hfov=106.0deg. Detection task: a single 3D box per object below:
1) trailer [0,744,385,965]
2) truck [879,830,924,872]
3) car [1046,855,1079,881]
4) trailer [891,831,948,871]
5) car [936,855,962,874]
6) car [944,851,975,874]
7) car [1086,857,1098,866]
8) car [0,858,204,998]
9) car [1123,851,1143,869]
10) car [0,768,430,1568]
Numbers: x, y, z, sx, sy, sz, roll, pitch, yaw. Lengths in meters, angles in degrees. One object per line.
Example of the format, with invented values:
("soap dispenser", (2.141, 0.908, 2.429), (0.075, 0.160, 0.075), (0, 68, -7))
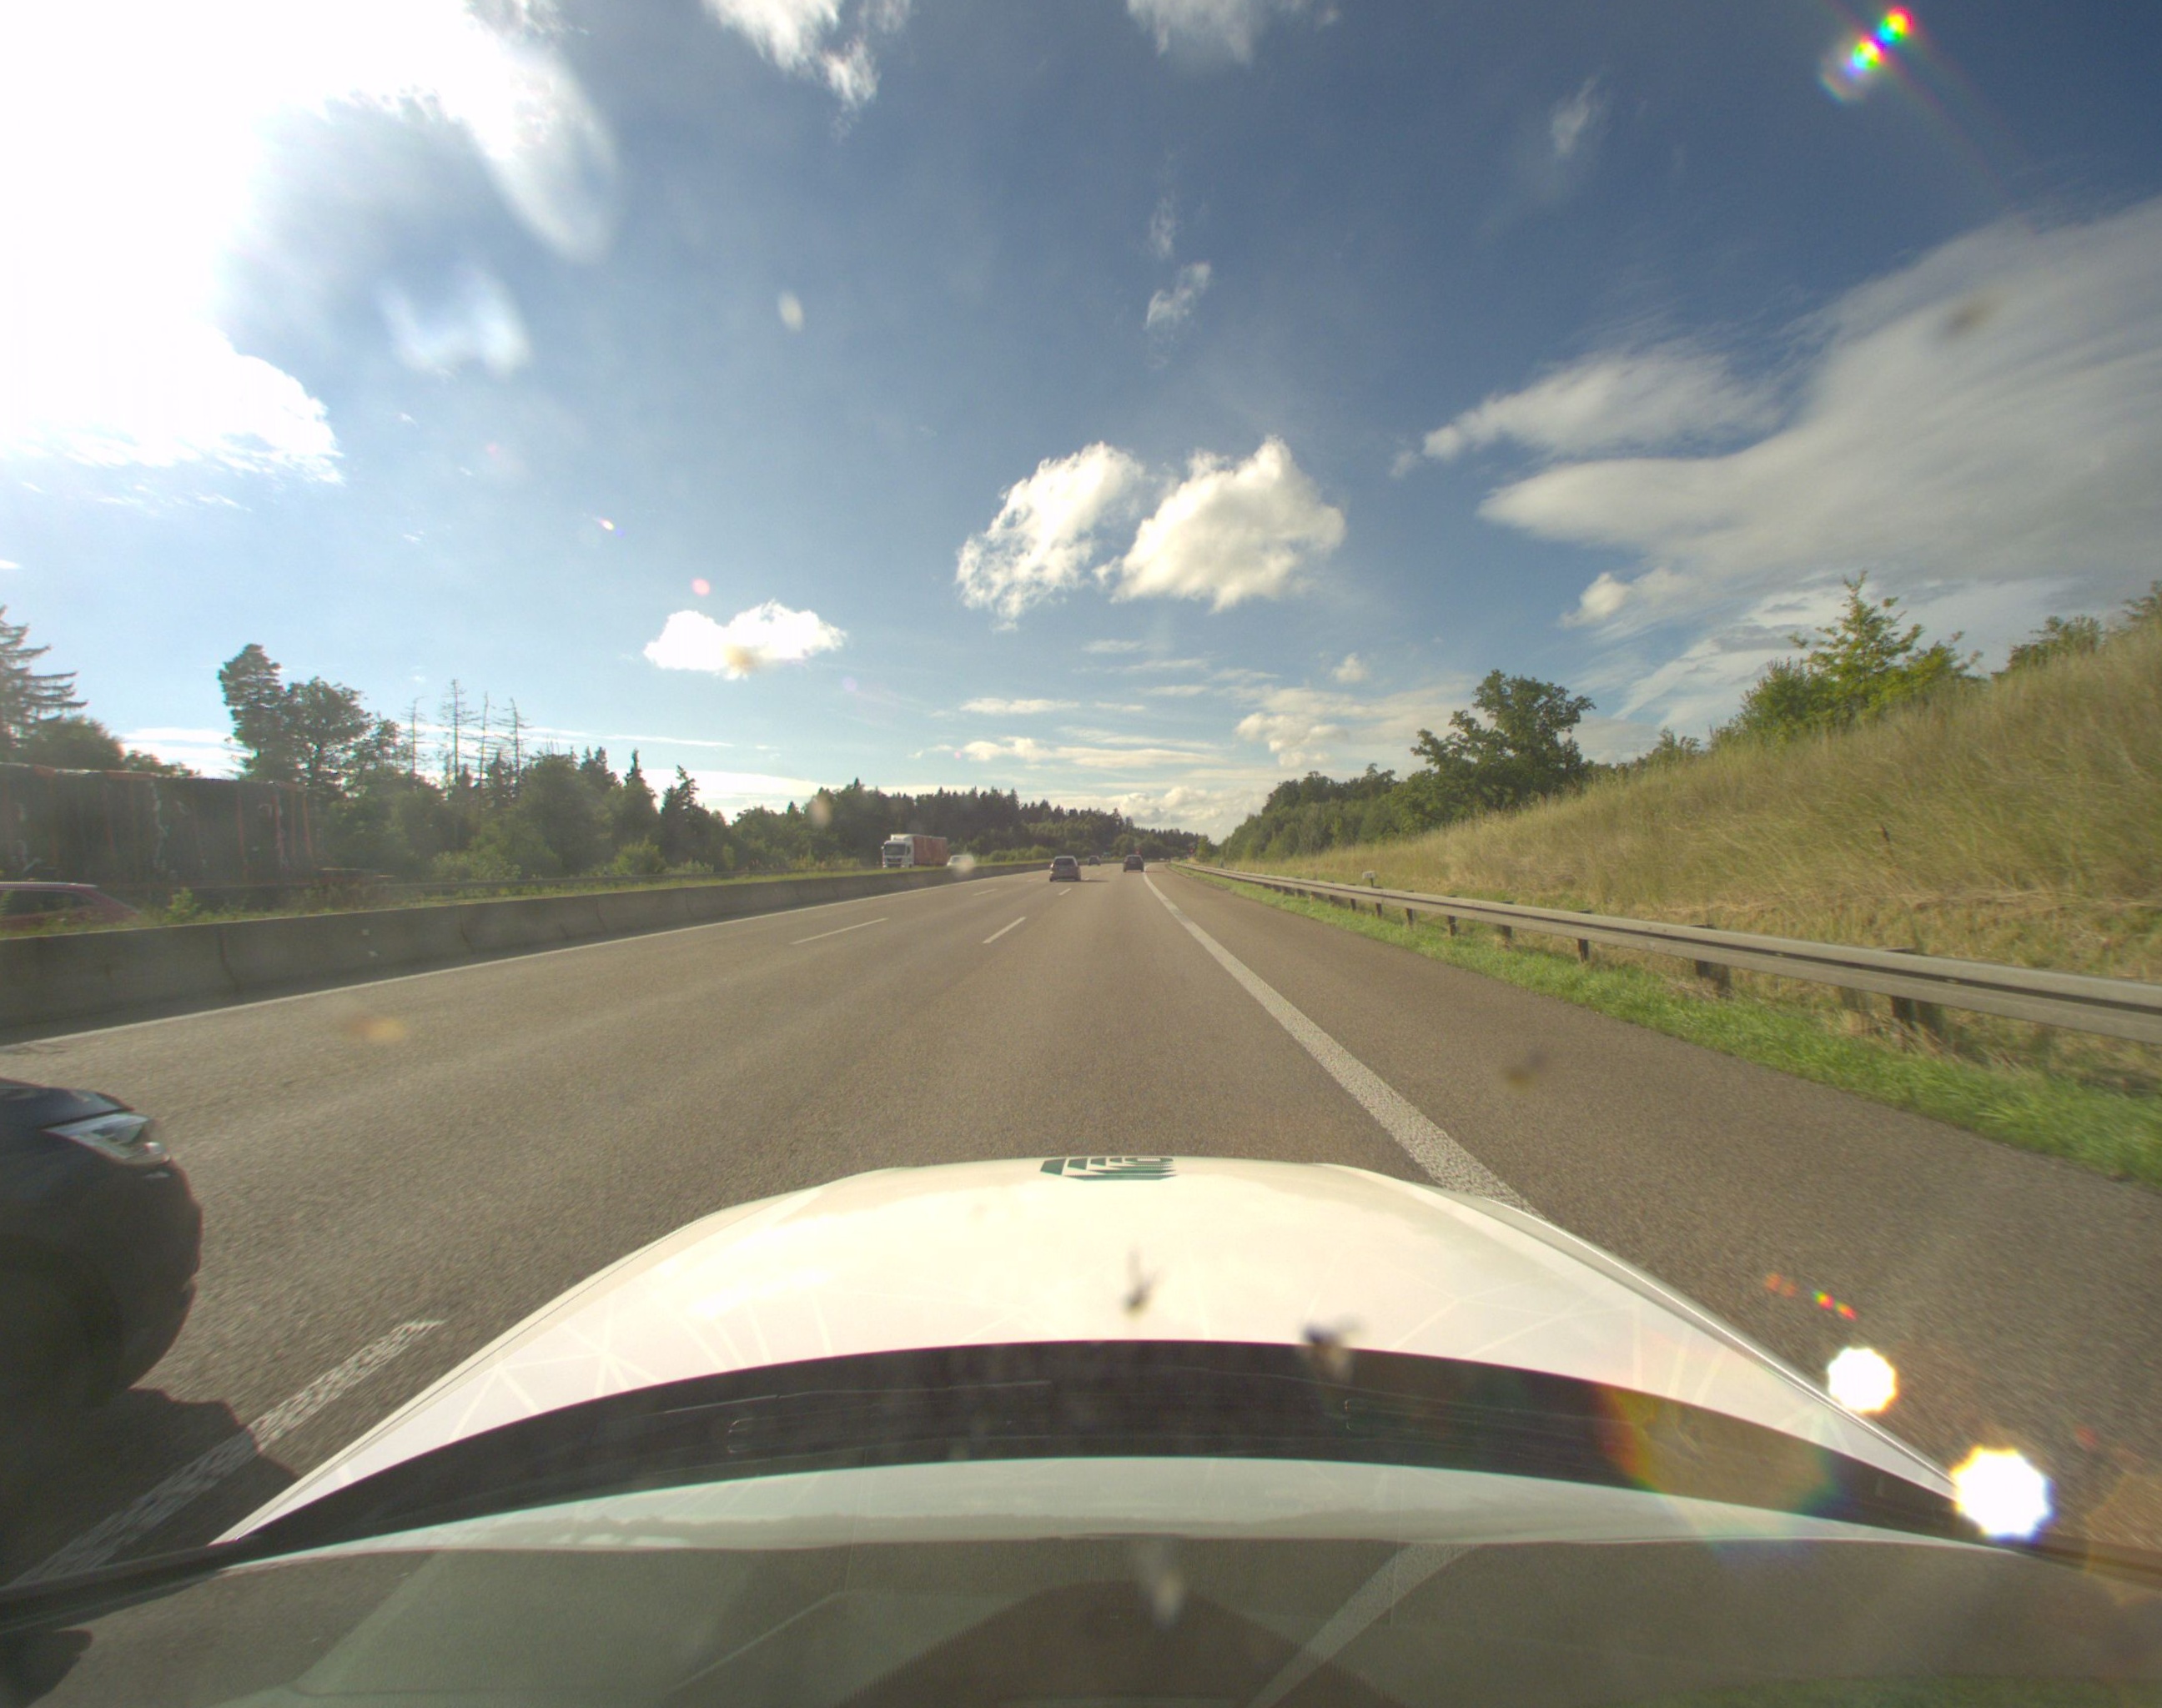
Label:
("trailer", (-22.762, 0.026, 18.743), (2.792, 4.392, 12.055), (-1, 0, 2))
("truck", (-18.276, -0.328, 83.444), (3.011, 4.109, 5.674), (-1, 0, 3))
("car", (-1.096, 0.849, 50.532), (1.867, 1.497, 3.880), (-1, 0, 1))
("trailer", (-17.808, -0.317, 90.929), (3.008, 4.108, 12.803), (-1, 0, 4))
("car", (-14.566, 1.110, 89.848), (1.985, 2.013, 4.004), (-1, 0, 3))
("car", (-11.117, 0.769, 74.959), (1.985, 2.013, 4.356), (-1, 0, 3))
("car", (1.847, 1.228, 138.247), (1.866, 1.497, 3.883), (-1, 0, 3))
("car", (-14.988, 0.975, 10.934), (1.986, 1.802, 4.002), (-1, 0, 2))
("car", (4.916, 0.548, 77.303), (1.866, 1.675, 3.893), (-1, 0, 3))
("car", (-3.351, 0.681, 0.590), (1.986, 1.707, 4.531), (-1, 0, 2))
